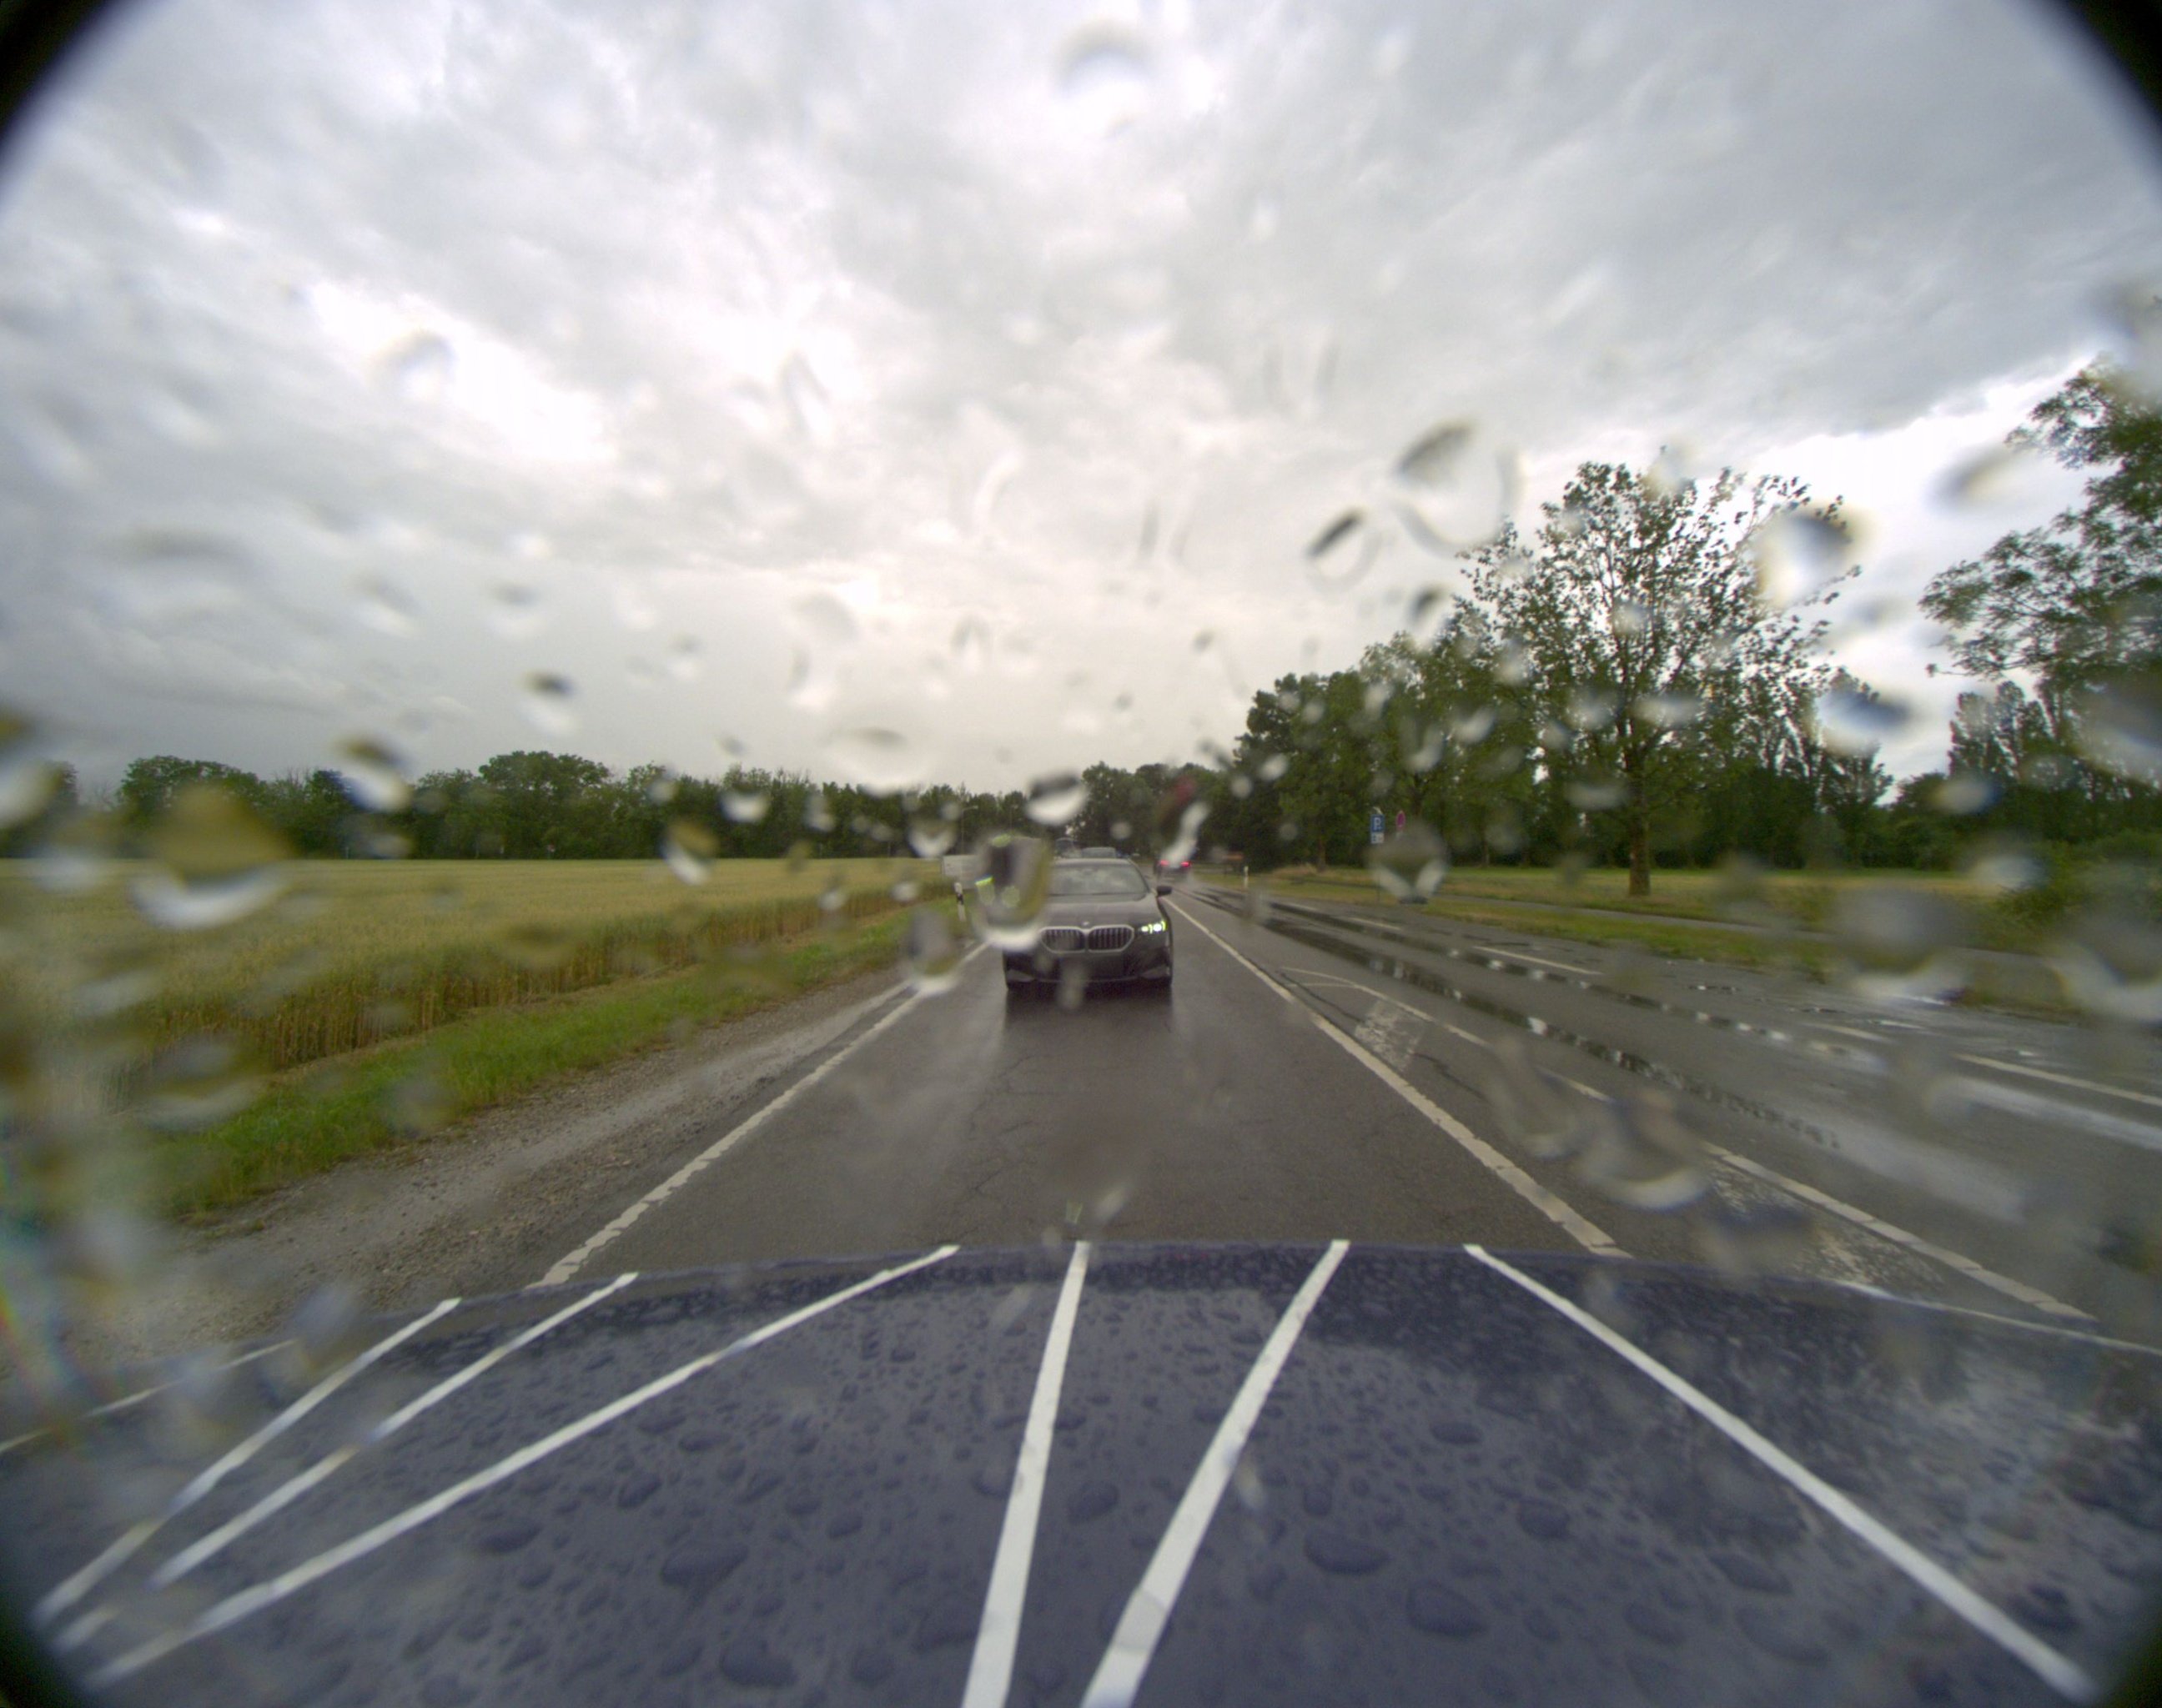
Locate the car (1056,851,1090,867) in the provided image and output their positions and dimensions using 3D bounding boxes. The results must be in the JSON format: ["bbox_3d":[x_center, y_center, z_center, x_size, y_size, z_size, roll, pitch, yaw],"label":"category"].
[{"bbox_3d":[-0.876,0.487,77.713,1.895,1.522,4.493,-2,0,-23],"label":"car"}]

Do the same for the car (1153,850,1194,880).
[{"bbox_3d":[5.415,0.618,44.965,1.921,1.622,4.357,0,1,1],"label":"car"}]

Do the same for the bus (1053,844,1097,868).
[{"bbox_3d":[-0.737,0.219,114.923,2.852,3.417,14.310,1,1,15],"label":"bus"}]

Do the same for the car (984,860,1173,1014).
[{"bbox_3d":[0.035,0.865,9.769,1.891,1.484,4.036,-1,0,2],"label":"car"}]

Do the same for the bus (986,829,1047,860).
[{"bbox_3d":[-8.038,-1.162,97.343,2.992,3.665,14.311,1,1,15],"label":"bus"}]

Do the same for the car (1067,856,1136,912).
[{"bbox_3d":[0.639,0.859,23.500,1.891,1.482,4.192,-2,0,2],"label":"car"}]

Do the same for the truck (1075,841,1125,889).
[{"bbox_3d":[0.844,0.462,37.046,2.076,2.050,5.767,-2,1,-1],"label":"truck"}]
